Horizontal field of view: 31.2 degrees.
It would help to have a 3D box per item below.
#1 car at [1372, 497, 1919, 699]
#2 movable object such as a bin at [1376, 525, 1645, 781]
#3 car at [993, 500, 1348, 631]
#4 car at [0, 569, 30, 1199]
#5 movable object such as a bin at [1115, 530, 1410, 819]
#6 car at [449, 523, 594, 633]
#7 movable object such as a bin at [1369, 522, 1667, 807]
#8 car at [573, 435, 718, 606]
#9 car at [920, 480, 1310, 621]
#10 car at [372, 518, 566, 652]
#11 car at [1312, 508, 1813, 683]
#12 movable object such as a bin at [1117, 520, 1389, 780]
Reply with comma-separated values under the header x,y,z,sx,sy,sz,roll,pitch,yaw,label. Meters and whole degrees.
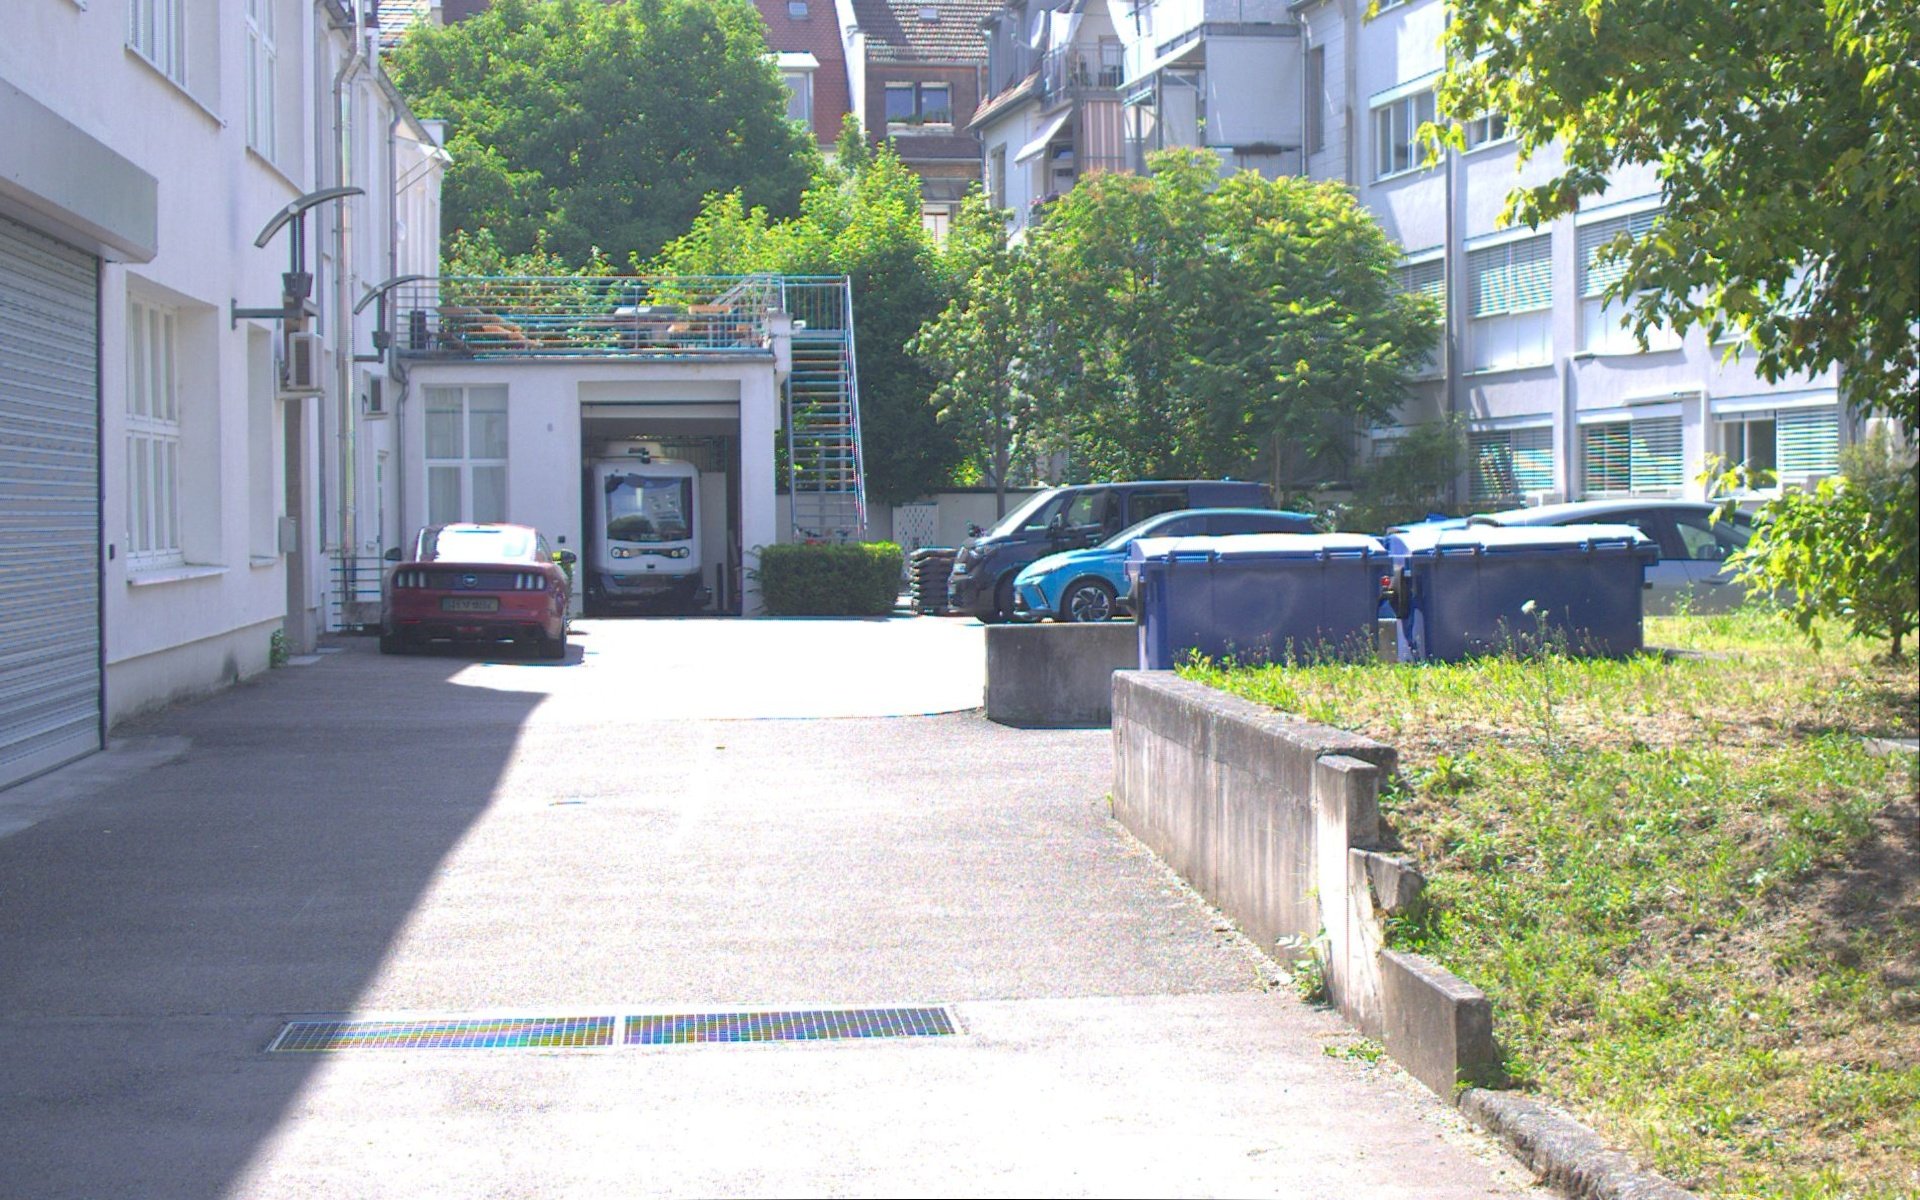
x,y,z,sx,sy,sz,roll,pitch,yaw,label
5.363,-0.047,26.558,3.986,1.422,1.812,-1,2,-7,car
2.997,0.265,18.826,1.155,1.332,1.142,-1,2,-7,movable object such as a bin
2.685,-0.468,44.434,4.228,1.527,2.001,-2,2,-8,car
-2.765,0.624,5.211,1.836,1.437,4.430,2,0,-5,car
1.466,0.352,16.947,1.247,1.315,1.142,-3,0,-3,movable object such as a bin
-5.559,-0.309,43.868,1.614,1.291,3.759,-1,2,-4,car
2.746,0.296,17.052,1.247,1.336,1.142,-1,1,-2,movable object such as a bin
-5.123,-1.296,56.701,2.174,2.598,6.735,-1,1,-4,car
2.132,-0.724,47.649,4.950,1.761,2.097,-2,3,-17,car
-5.201,-0.197,36.833,1.851,1.315,4.001,1,2,-5,car
5.208,-0.064,29.999,3.986,1.389,1.689,-1,2,-5,car
1.580,0.249,18.754,1.247,1.350,1.129,-1,2,-7,movable object such as a bin
